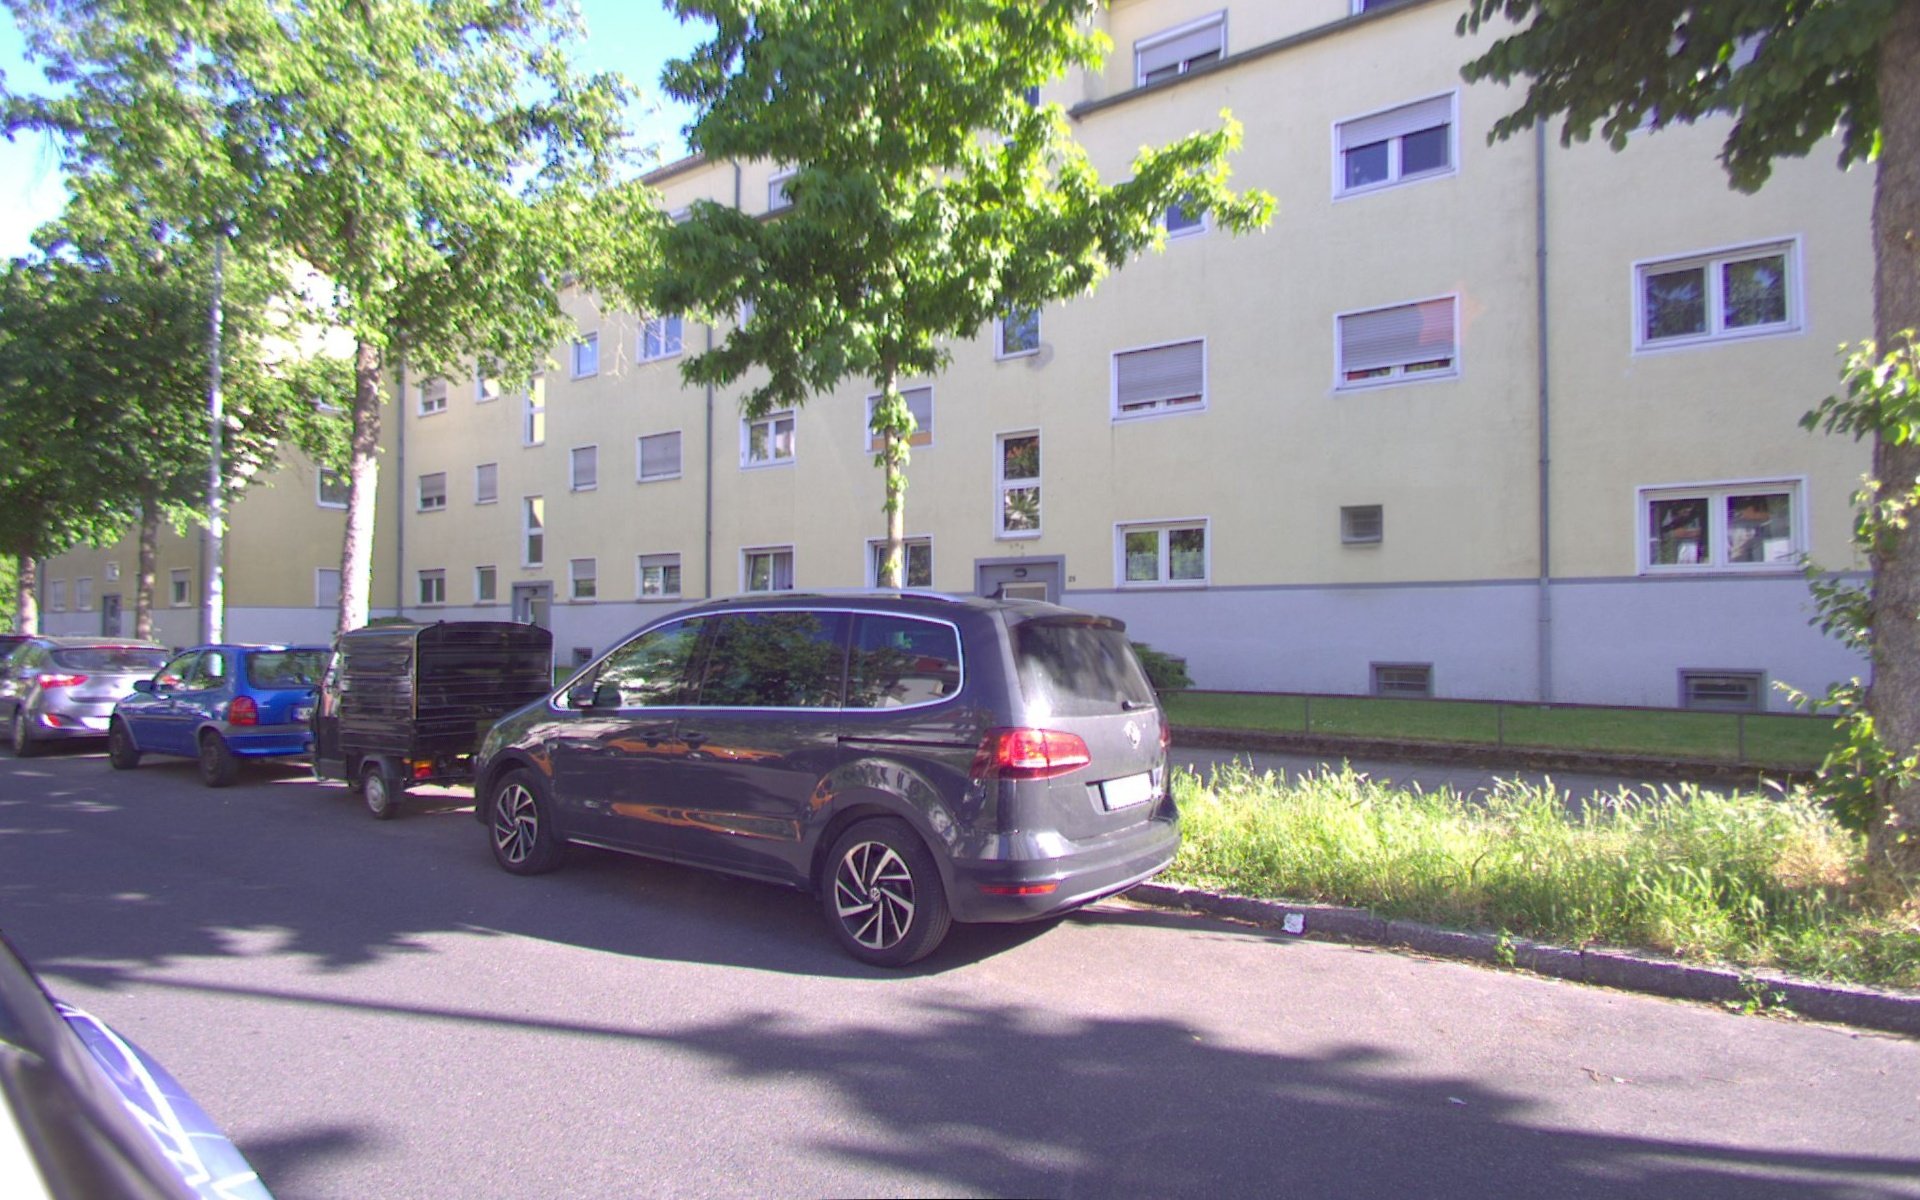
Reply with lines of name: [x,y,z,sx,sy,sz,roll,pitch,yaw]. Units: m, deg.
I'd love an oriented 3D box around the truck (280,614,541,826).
truck: [-4.808,0.949,8.790,2.427,1.589,1.074,-2,-3,37]

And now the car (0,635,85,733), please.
car: [-16.574,1.365,17.171,4.260,1.527,1.606,-2,-5,36]

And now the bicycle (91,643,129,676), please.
bicycle: [-27.373,1.894,32.569,1.745,1.034,0.531,-2,-3,37]

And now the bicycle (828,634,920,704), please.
bicycle: [-1.478,1.174,17.700,0.486,1.089,1.822,0,1,38]

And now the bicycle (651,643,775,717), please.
bicycle: [-3.823,1.216,15.662,1.825,1.089,0.485,0,0,11]

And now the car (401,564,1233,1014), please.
car: [-1.101,0.829,6.030,4.964,1.693,1.833,-2,-5,35]

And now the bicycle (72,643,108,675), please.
bicycle: [-28.953,1.948,33.674,1.745,1.034,0.535,-2,-3,37]

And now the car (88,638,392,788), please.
car: [-8.025,1.124,11.194,3.716,1.406,1.508,-1,-2,34]

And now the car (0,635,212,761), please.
car: [-12.107,1.230,13.784,4.679,1.455,1.775,-2,-4,37]
